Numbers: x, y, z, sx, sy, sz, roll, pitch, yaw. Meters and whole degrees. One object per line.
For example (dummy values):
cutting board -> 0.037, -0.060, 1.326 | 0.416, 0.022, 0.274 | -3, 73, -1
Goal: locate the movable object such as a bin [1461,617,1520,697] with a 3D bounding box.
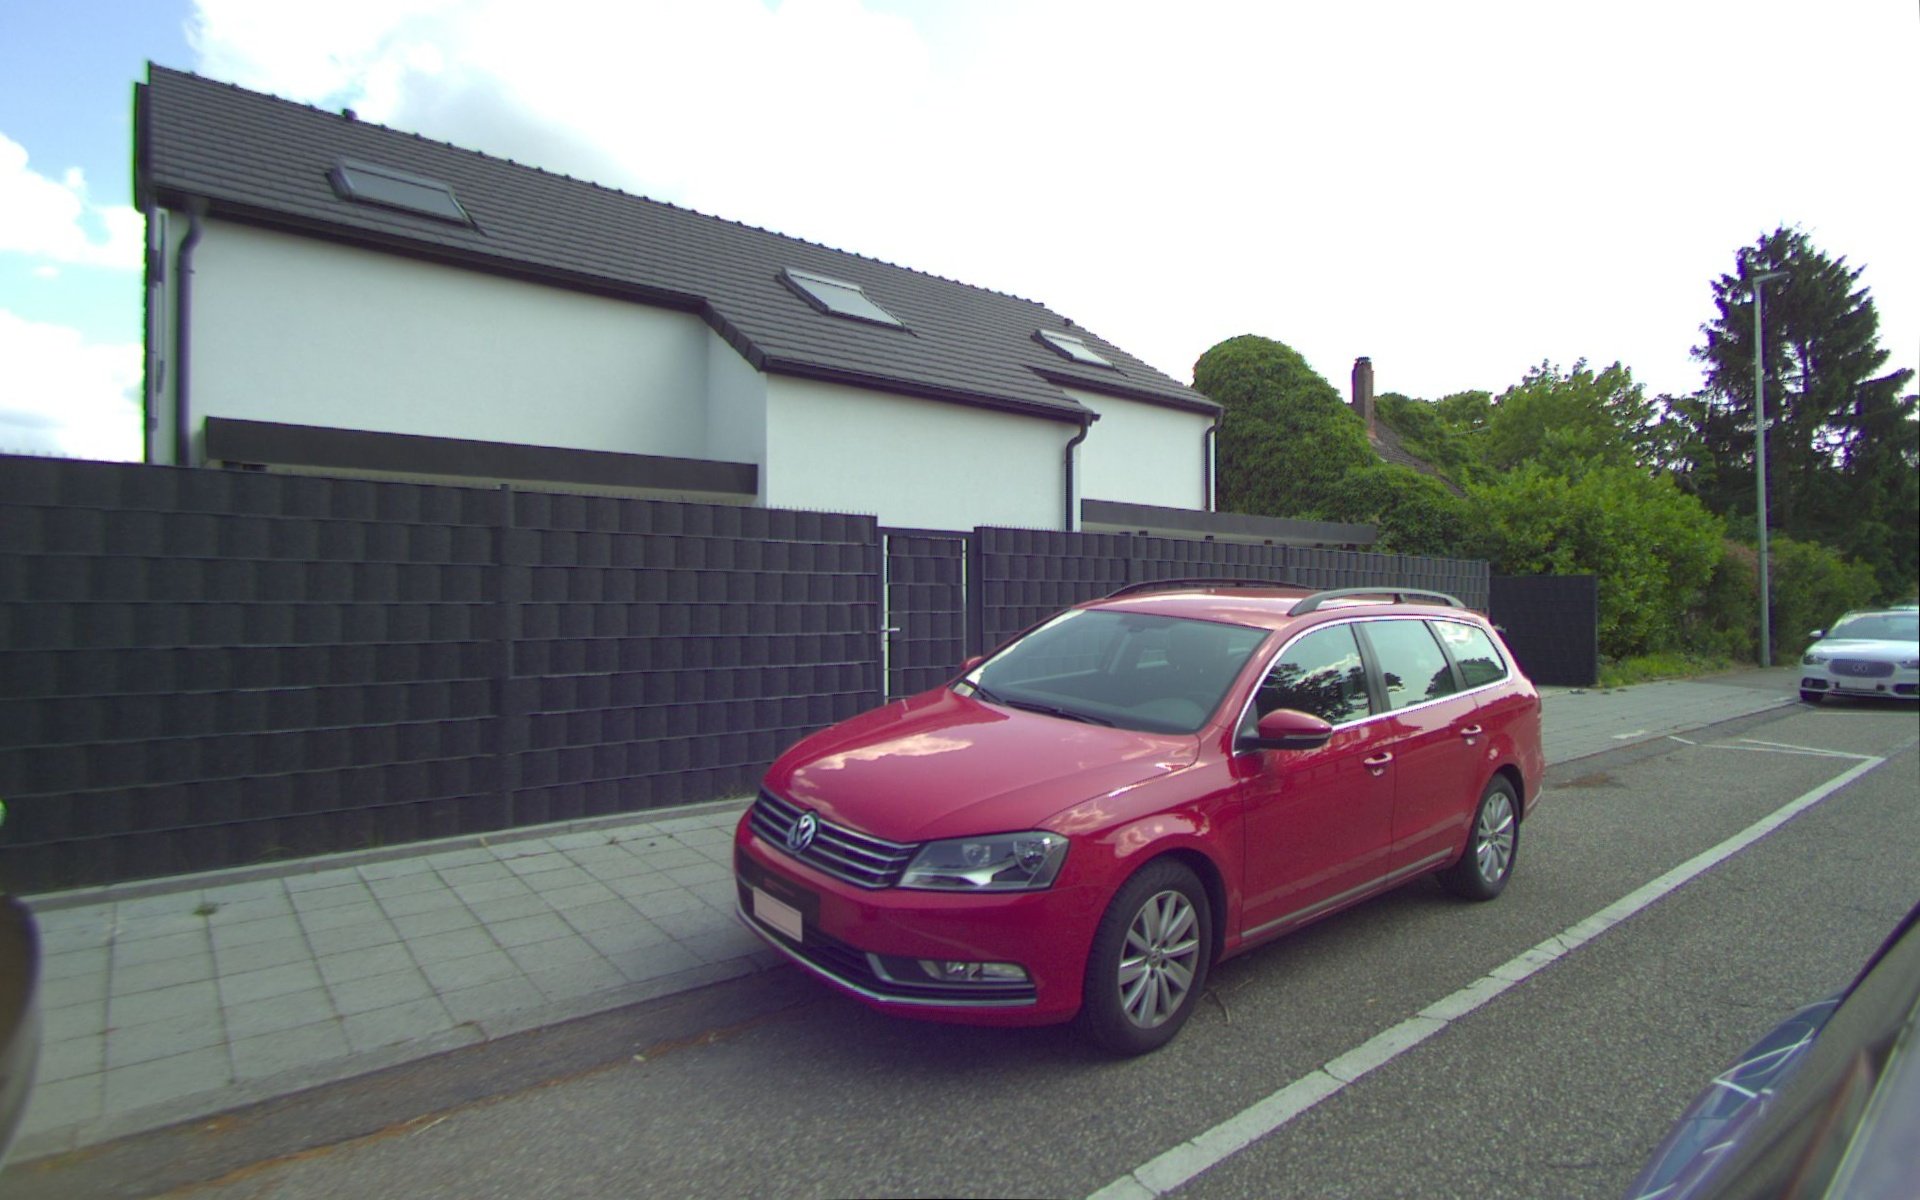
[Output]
movable object such as a bin -> 7.364, 0.775, 14.041 | 0.618, 1.052, 0.517 | 0, -1, -39

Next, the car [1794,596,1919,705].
car -> 14.397, 0.692, 15.457 | 3.679, 1.505, 1.726 | 0, 0, -36

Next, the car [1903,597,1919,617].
car -> 73.088, 0.508, 75.010 | 4.510, 1.481, 1.705 | -1, 0, 38

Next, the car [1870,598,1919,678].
car -> 19.959, 0.736, 20.612 | 3.688, 1.539, 1.584 | 0, 0, -39

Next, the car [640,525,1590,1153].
car -> 1.092, 0.604, 4.797 | 4.648, 1.599, 1.853 | 0, 0, -40
